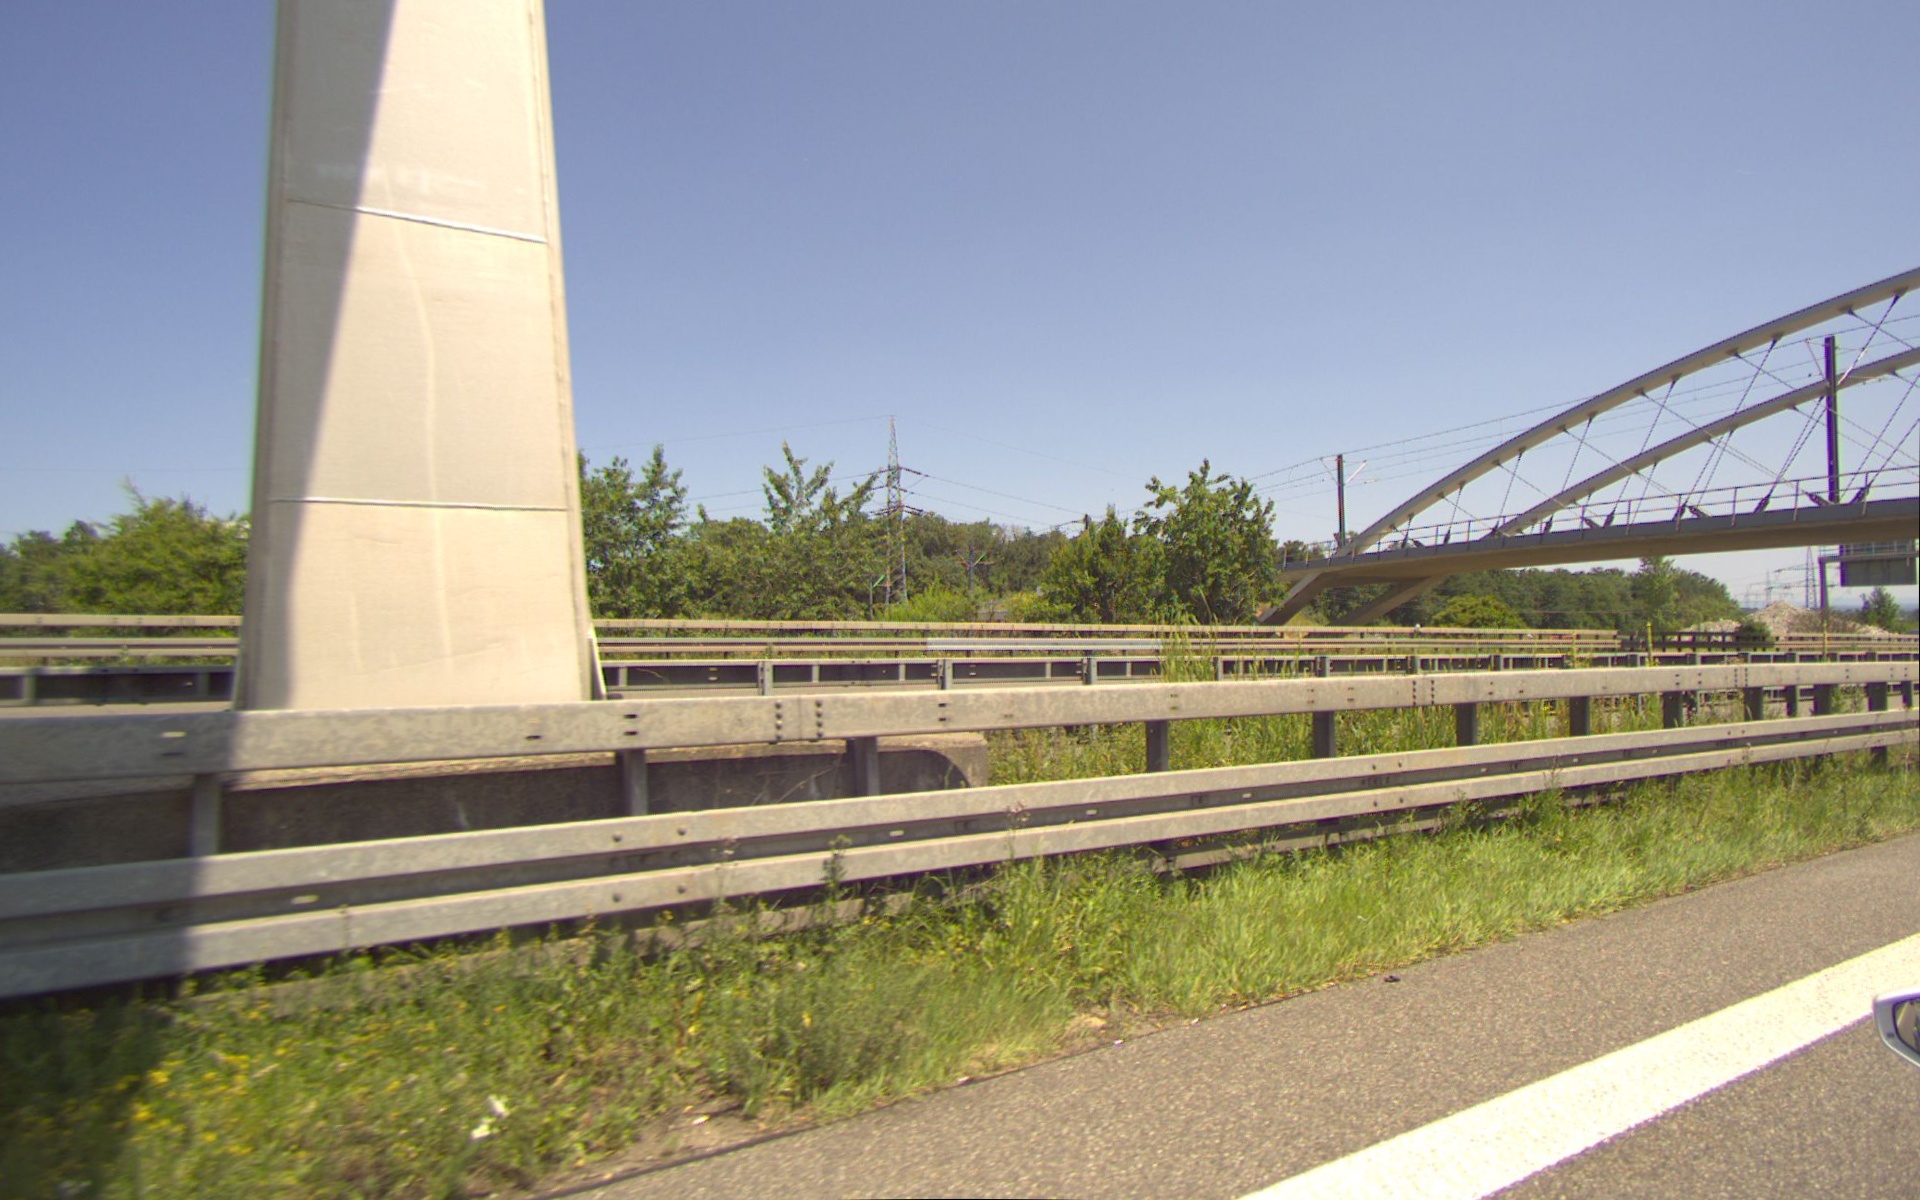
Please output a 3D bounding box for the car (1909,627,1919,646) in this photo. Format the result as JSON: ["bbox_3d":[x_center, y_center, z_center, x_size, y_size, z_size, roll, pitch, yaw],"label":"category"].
[{"bbox_3d":[86.089,3.241,88.787,4.268,1.639,1.986,1,-1,-28],"label":"car"}]
